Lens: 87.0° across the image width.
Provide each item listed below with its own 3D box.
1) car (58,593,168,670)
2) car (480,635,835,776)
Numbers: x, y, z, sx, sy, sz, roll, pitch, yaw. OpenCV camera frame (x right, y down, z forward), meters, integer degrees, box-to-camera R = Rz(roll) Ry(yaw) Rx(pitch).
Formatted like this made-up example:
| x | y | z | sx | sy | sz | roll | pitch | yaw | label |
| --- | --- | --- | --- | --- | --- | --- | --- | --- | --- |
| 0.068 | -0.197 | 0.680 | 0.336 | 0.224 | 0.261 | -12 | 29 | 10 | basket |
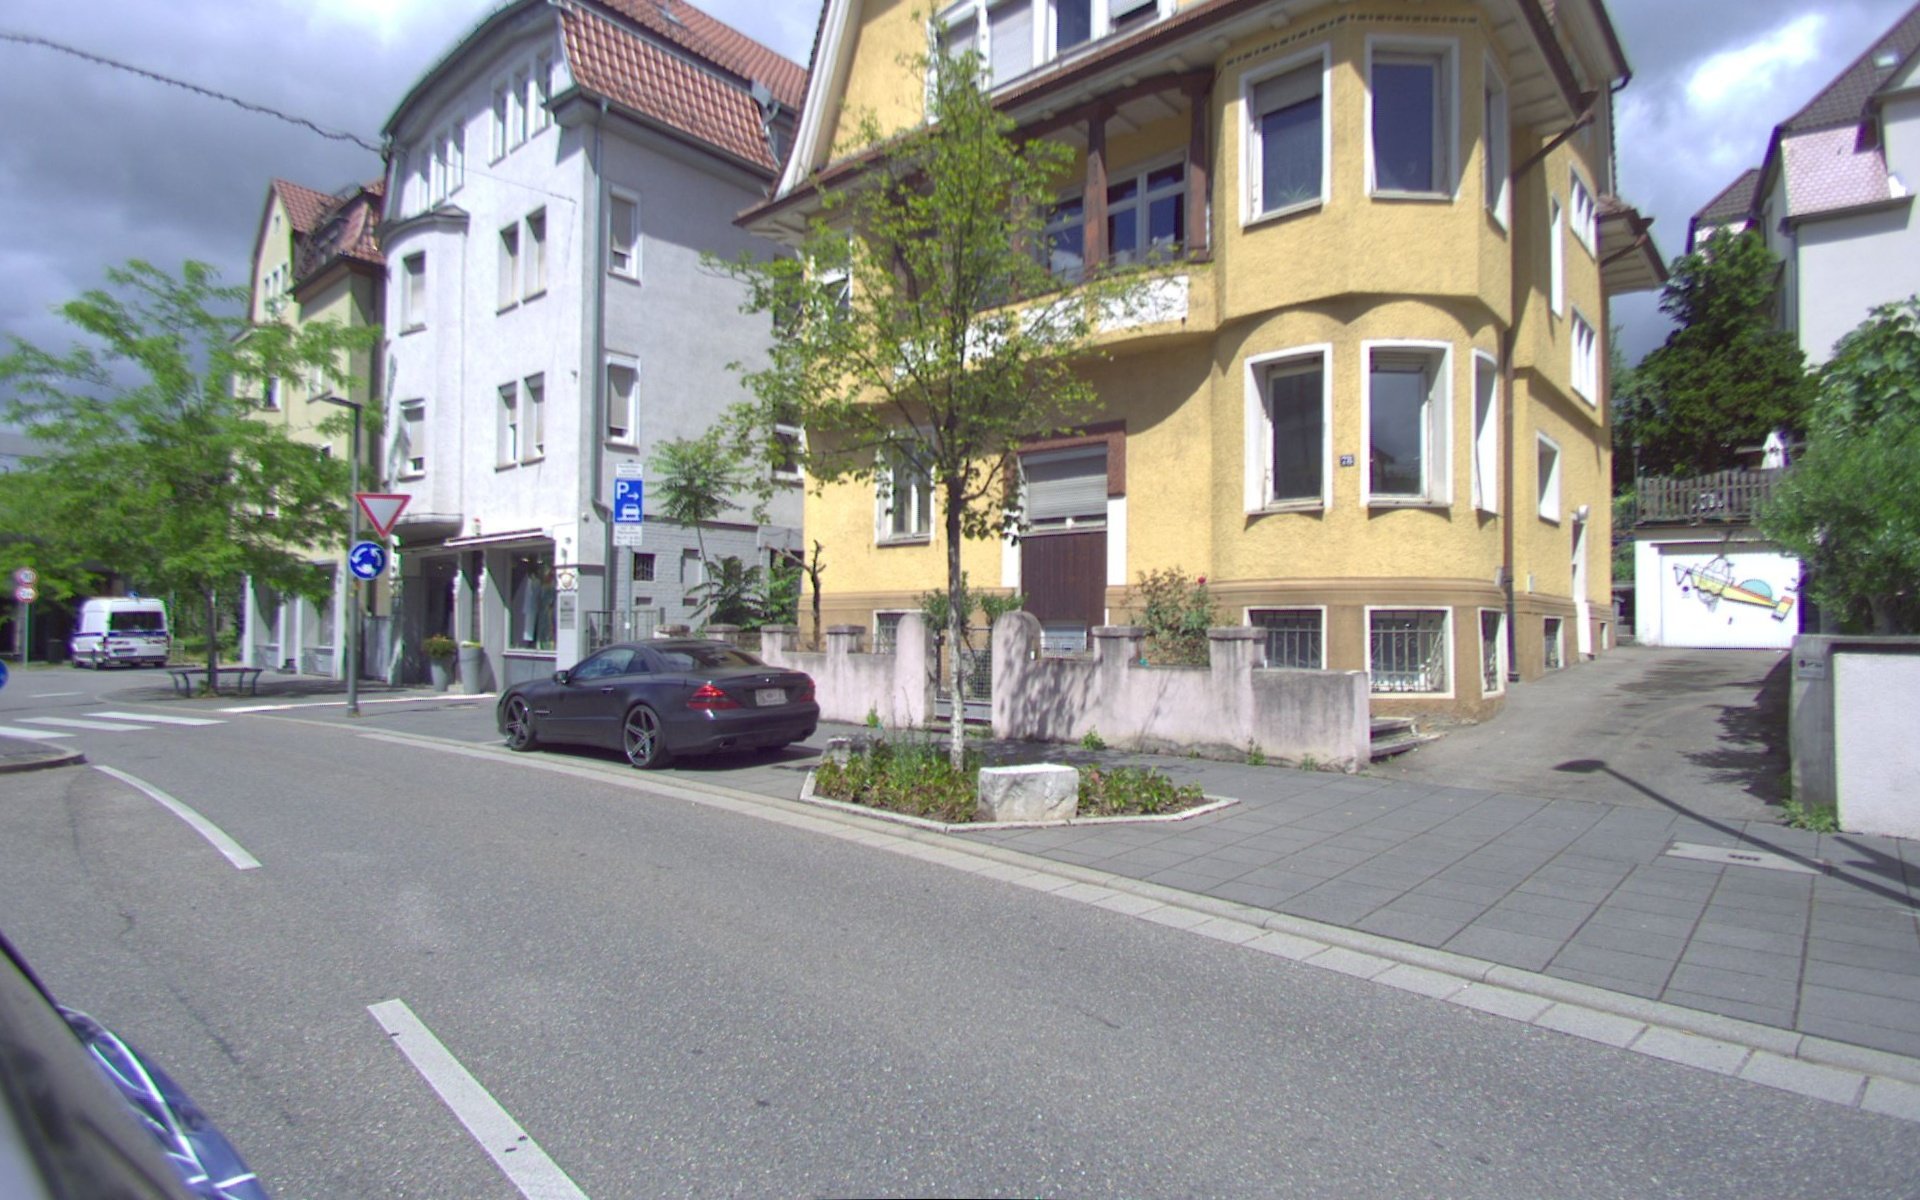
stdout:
| x | y | z | sx | sy | sz | roll | pitch | yaw | label |
| --- | --- | --- | --- | --- | --- | --- | --- | --- | --- |
| -31.230 | 1.173 | 37.252 | 5.922 | 2.626 | 1.949 | -2 | -1 | 38 | car |
| -3.524 | 1.054 | 11.324 | 4.408 | 1.255 | 1.692 | -3 | -2 | 40 | car |
